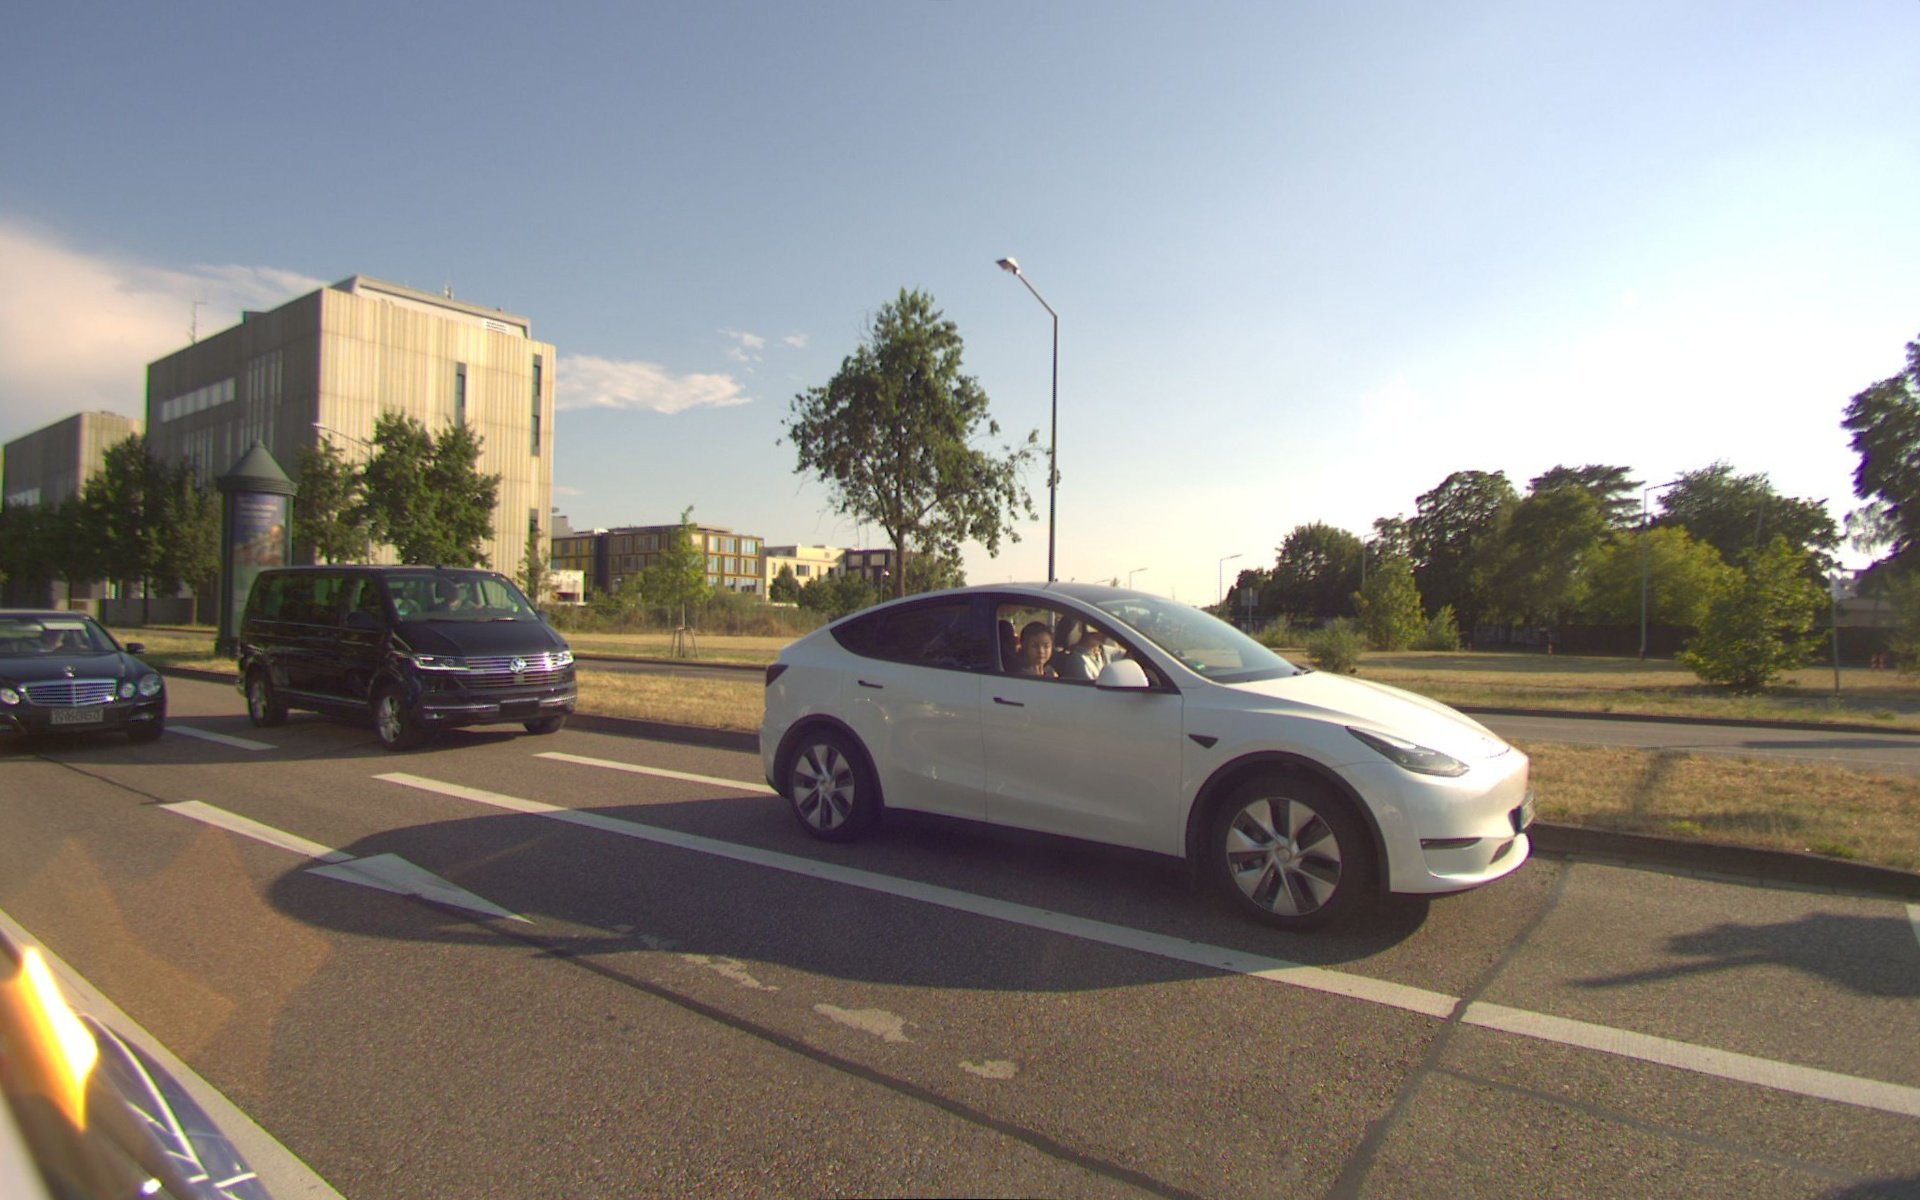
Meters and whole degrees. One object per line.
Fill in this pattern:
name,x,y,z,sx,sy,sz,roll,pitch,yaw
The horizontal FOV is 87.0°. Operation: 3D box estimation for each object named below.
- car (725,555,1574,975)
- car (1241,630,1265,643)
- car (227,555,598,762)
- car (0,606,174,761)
car,0.824,0.657,5.985,4.668,1.611,1.719,-1,-1,37
car,30.715,3.810,106.244,1.315,1.302,2.810,1,-2,-10
car,-6.493,0.558,11.756,5.003,1.947,1.840,0,0,36
car,-10.496,0.819,11.239,4.488,1.448,1.788,-1,-1,39
